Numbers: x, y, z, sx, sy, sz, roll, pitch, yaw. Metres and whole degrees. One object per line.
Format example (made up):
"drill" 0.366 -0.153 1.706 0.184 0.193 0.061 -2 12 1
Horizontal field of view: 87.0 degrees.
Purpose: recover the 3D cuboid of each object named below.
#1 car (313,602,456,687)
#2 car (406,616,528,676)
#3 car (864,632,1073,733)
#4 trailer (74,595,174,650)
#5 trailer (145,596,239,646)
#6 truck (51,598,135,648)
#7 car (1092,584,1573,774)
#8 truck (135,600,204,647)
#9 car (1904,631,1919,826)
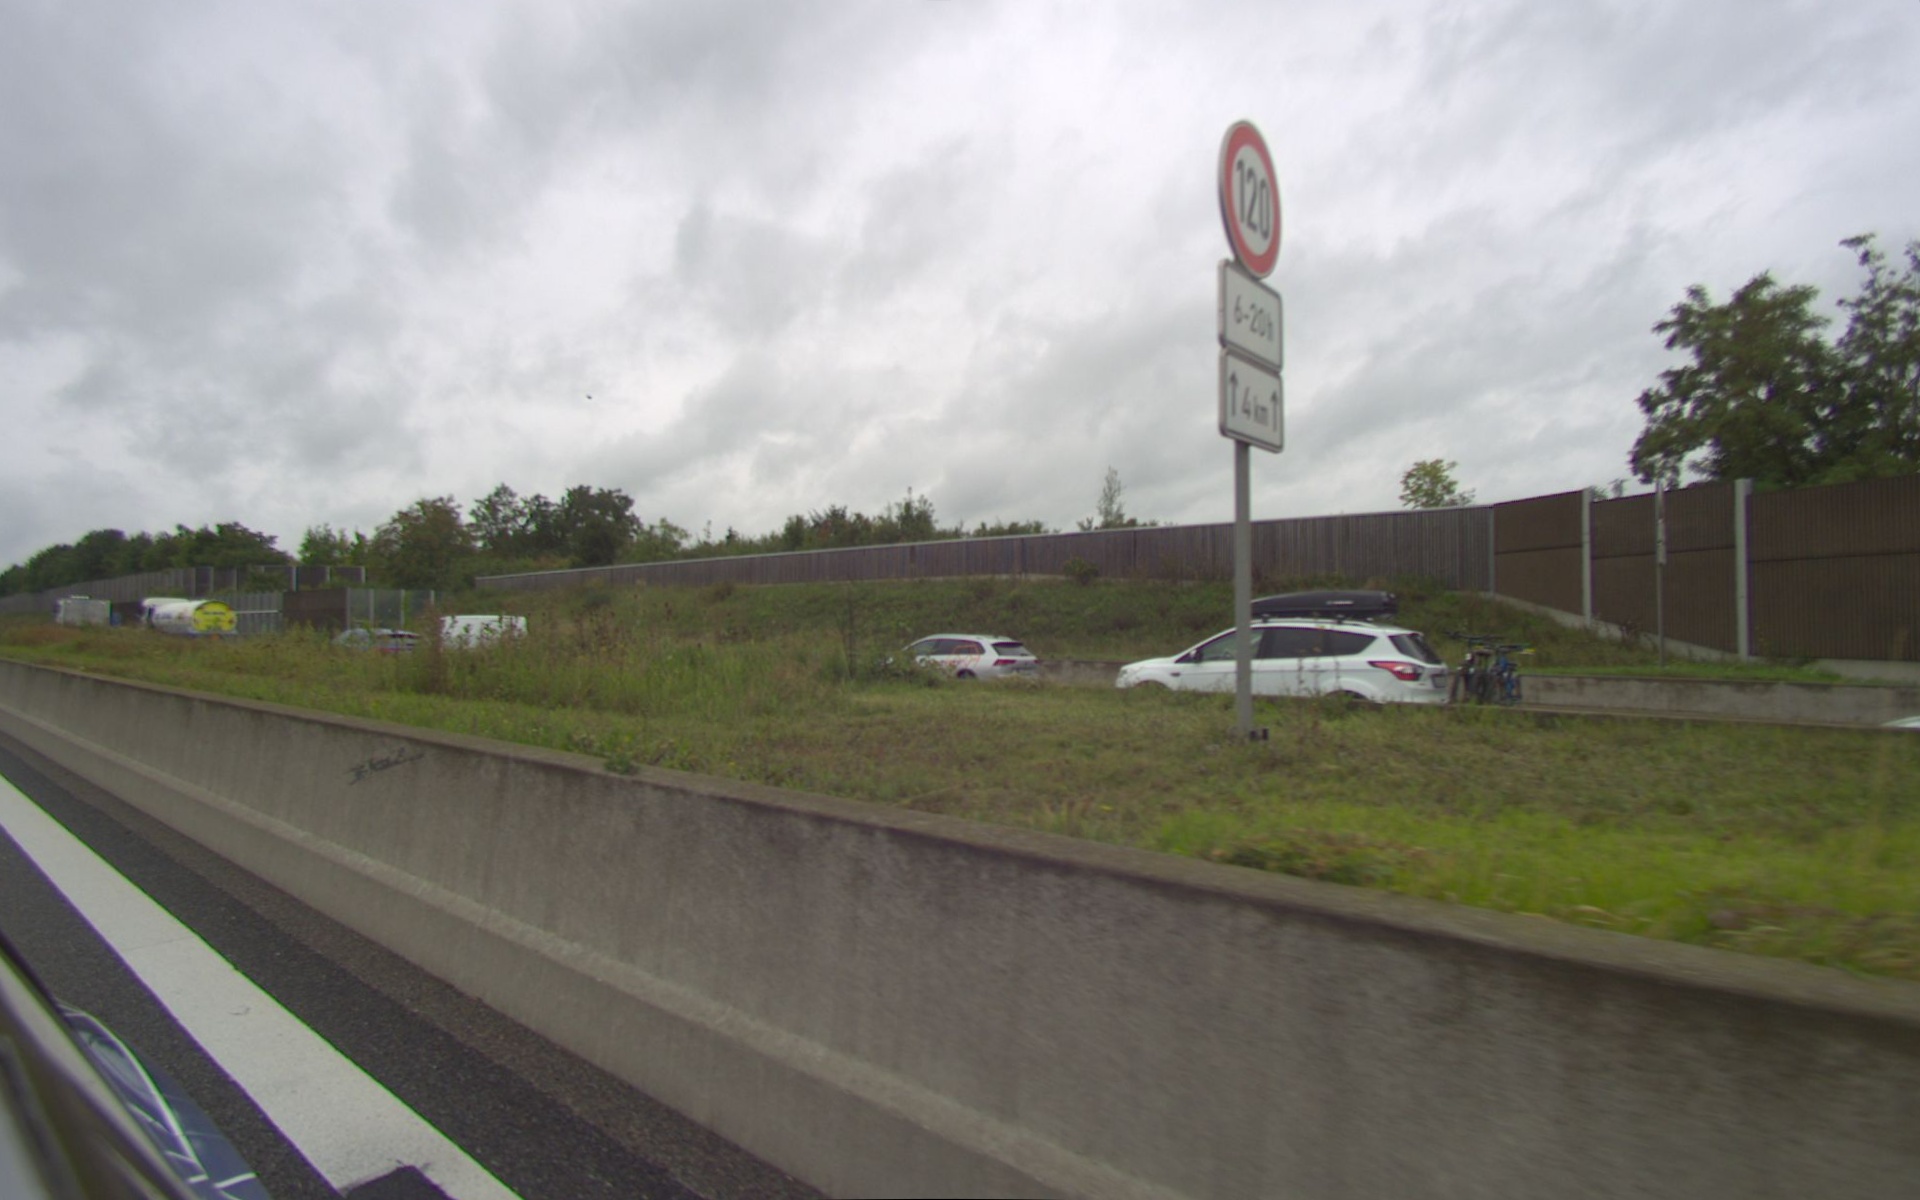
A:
"car" -14.987 1.095 26.285 3.997 2.029 1.973 -1 -1 40
"car" -18.103 1.629 37.004 5.951 2.029 1.887 -2 -1 41
"car" 0.113 1.791 23.293 4.649 2.029 1.973 -2 -1 41
"trailer" -50.001 1.332 60.358 10.563 2.981 2.925 -1 0 41
"trailer" -50.134 1.396 65.942 10.788 3.012 2.585 -2 -1 40
"truck" -57.260 1.508 66.763 8.723 3.090 2.925 -1 0 41
"car" 4.672 0.894 13.371 5.614 2.029 1.973 -1 -1 40
"truck" -54.056 1.573 69.172 5.608 3.042 2.595 -1 0 40
"car" 8.459 0.831 5.145 5.225 1.296 1.973 -1 -1 41
